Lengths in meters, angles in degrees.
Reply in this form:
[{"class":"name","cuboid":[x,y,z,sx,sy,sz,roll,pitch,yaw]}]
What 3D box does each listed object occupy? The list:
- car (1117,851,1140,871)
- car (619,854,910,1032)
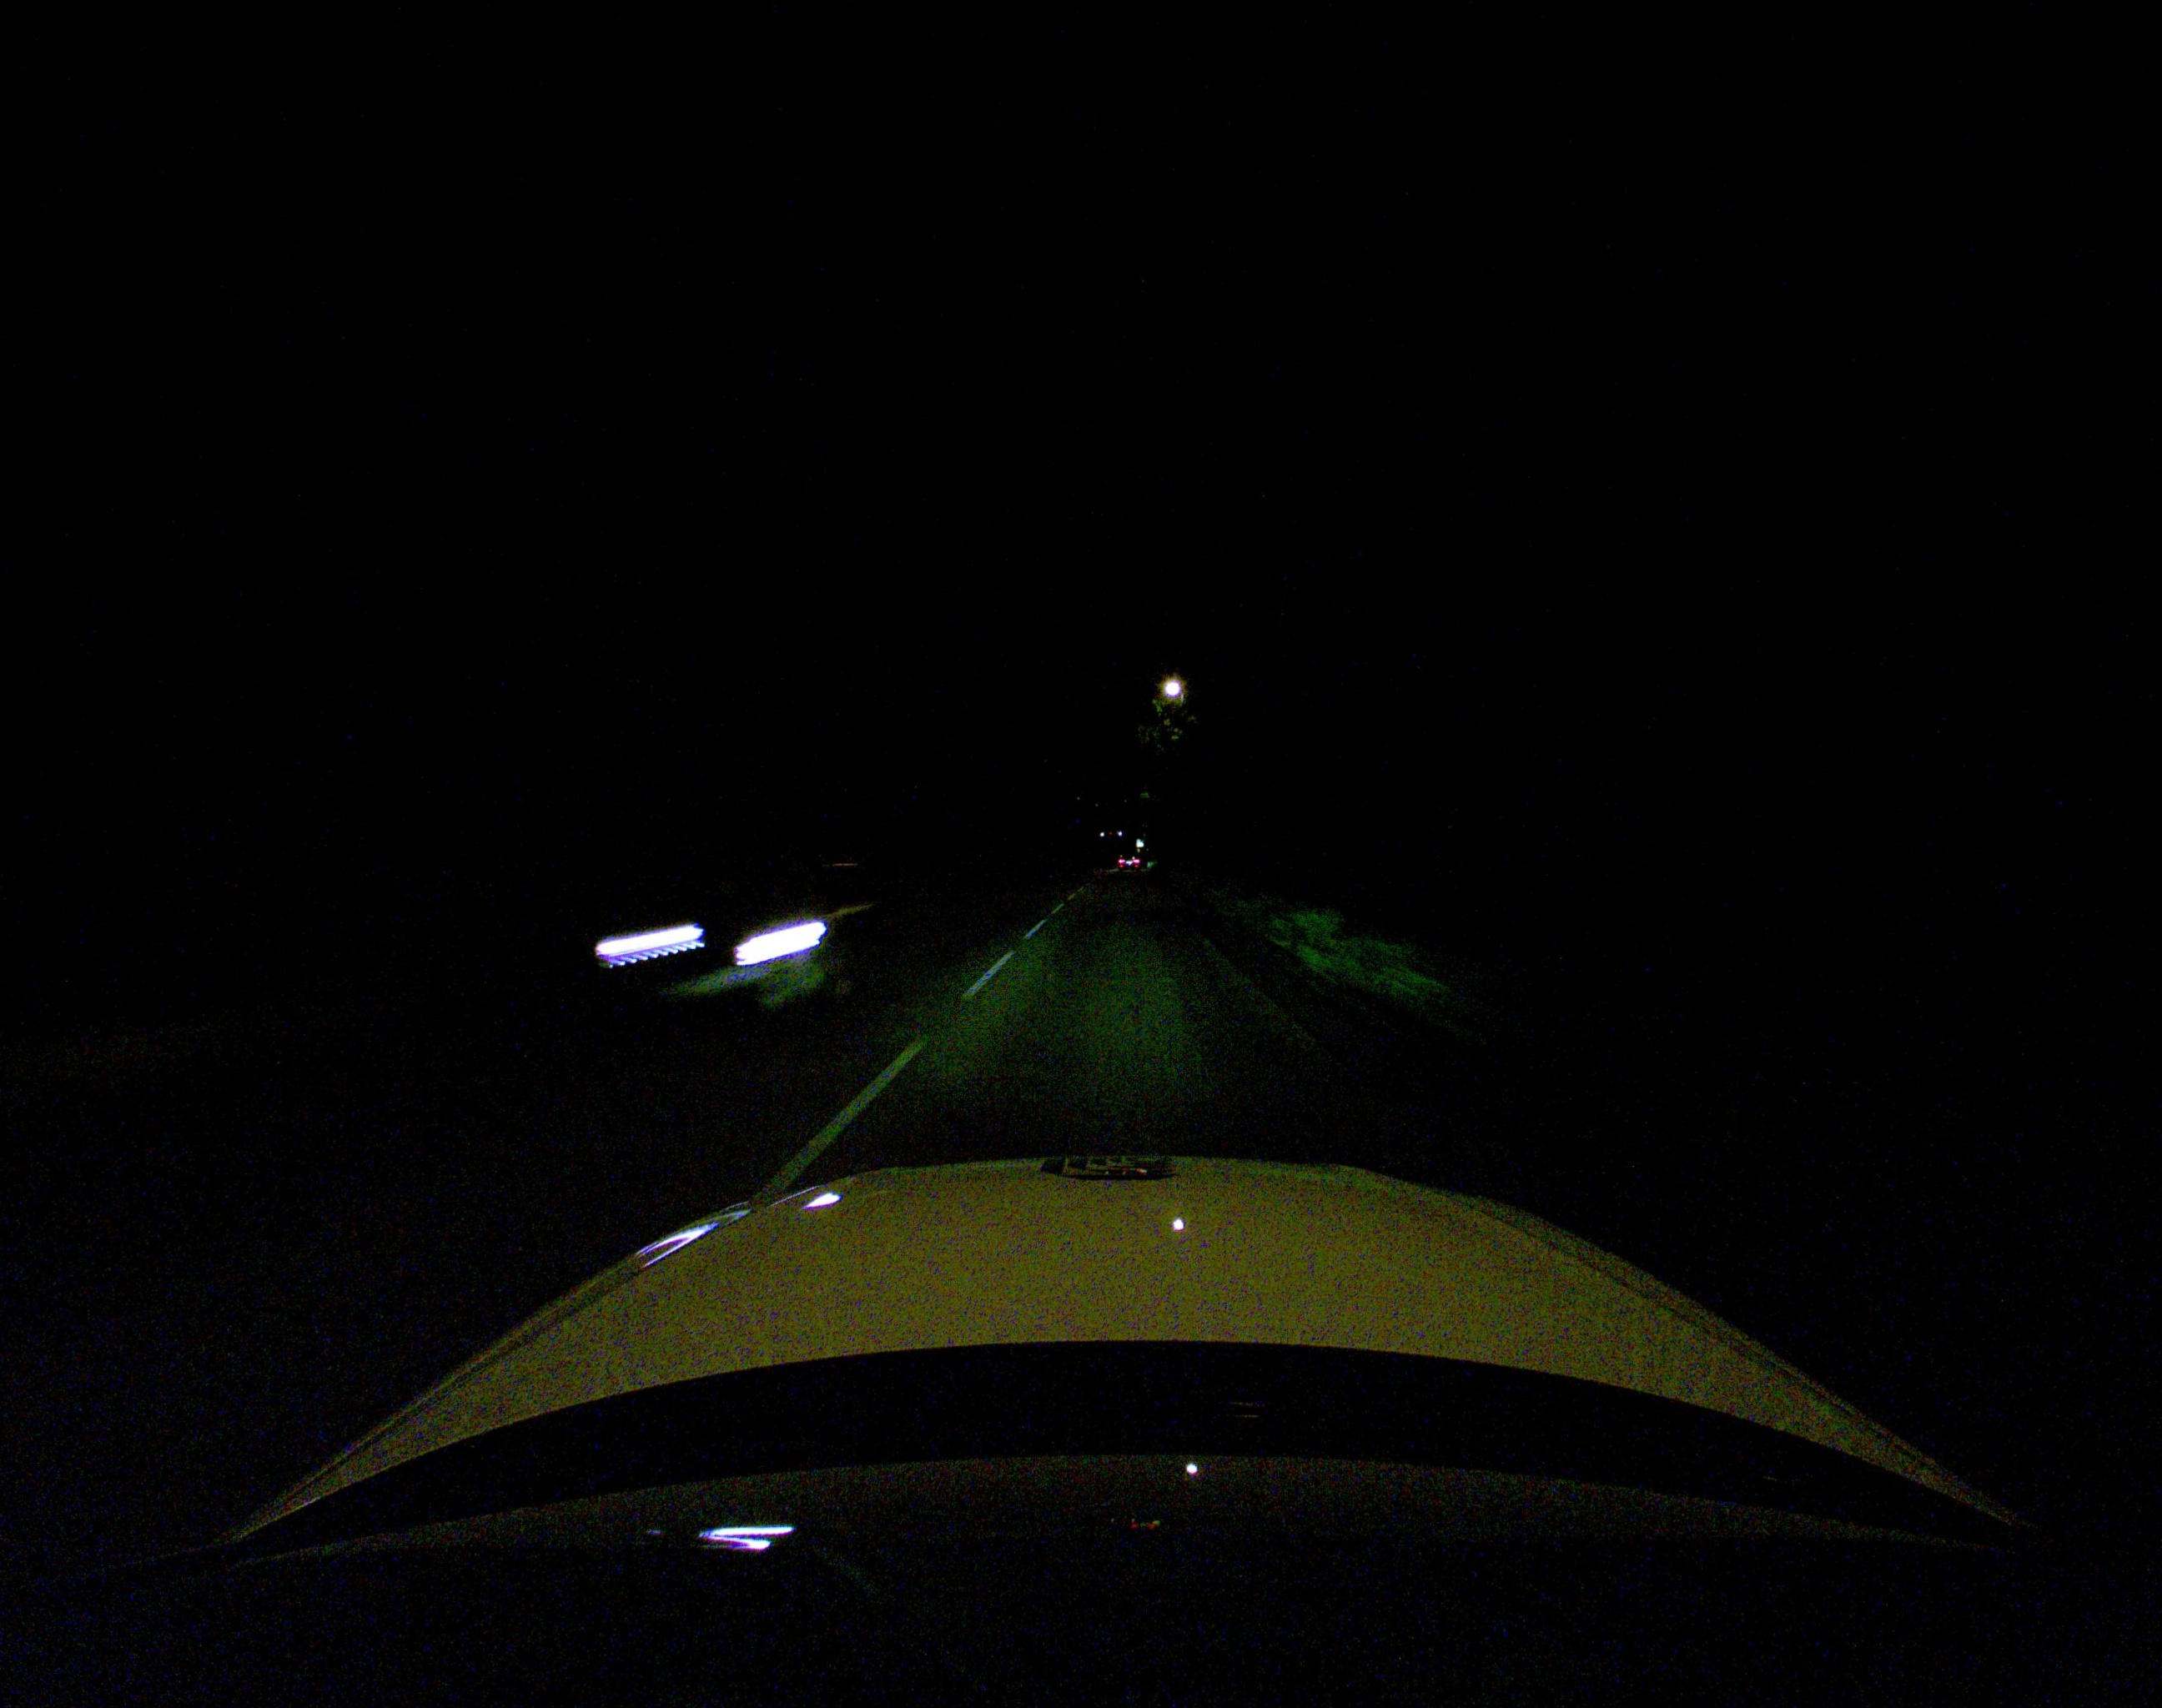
[{"class":"car","cuboid":[4.116,0.589,71.234,1.758,1.642,3.721,-1,0,-1]},{"class":"car","cuboid":[-3.090,0.761,8.764,1.641,1.491,3.558,-1,0,1]}]
